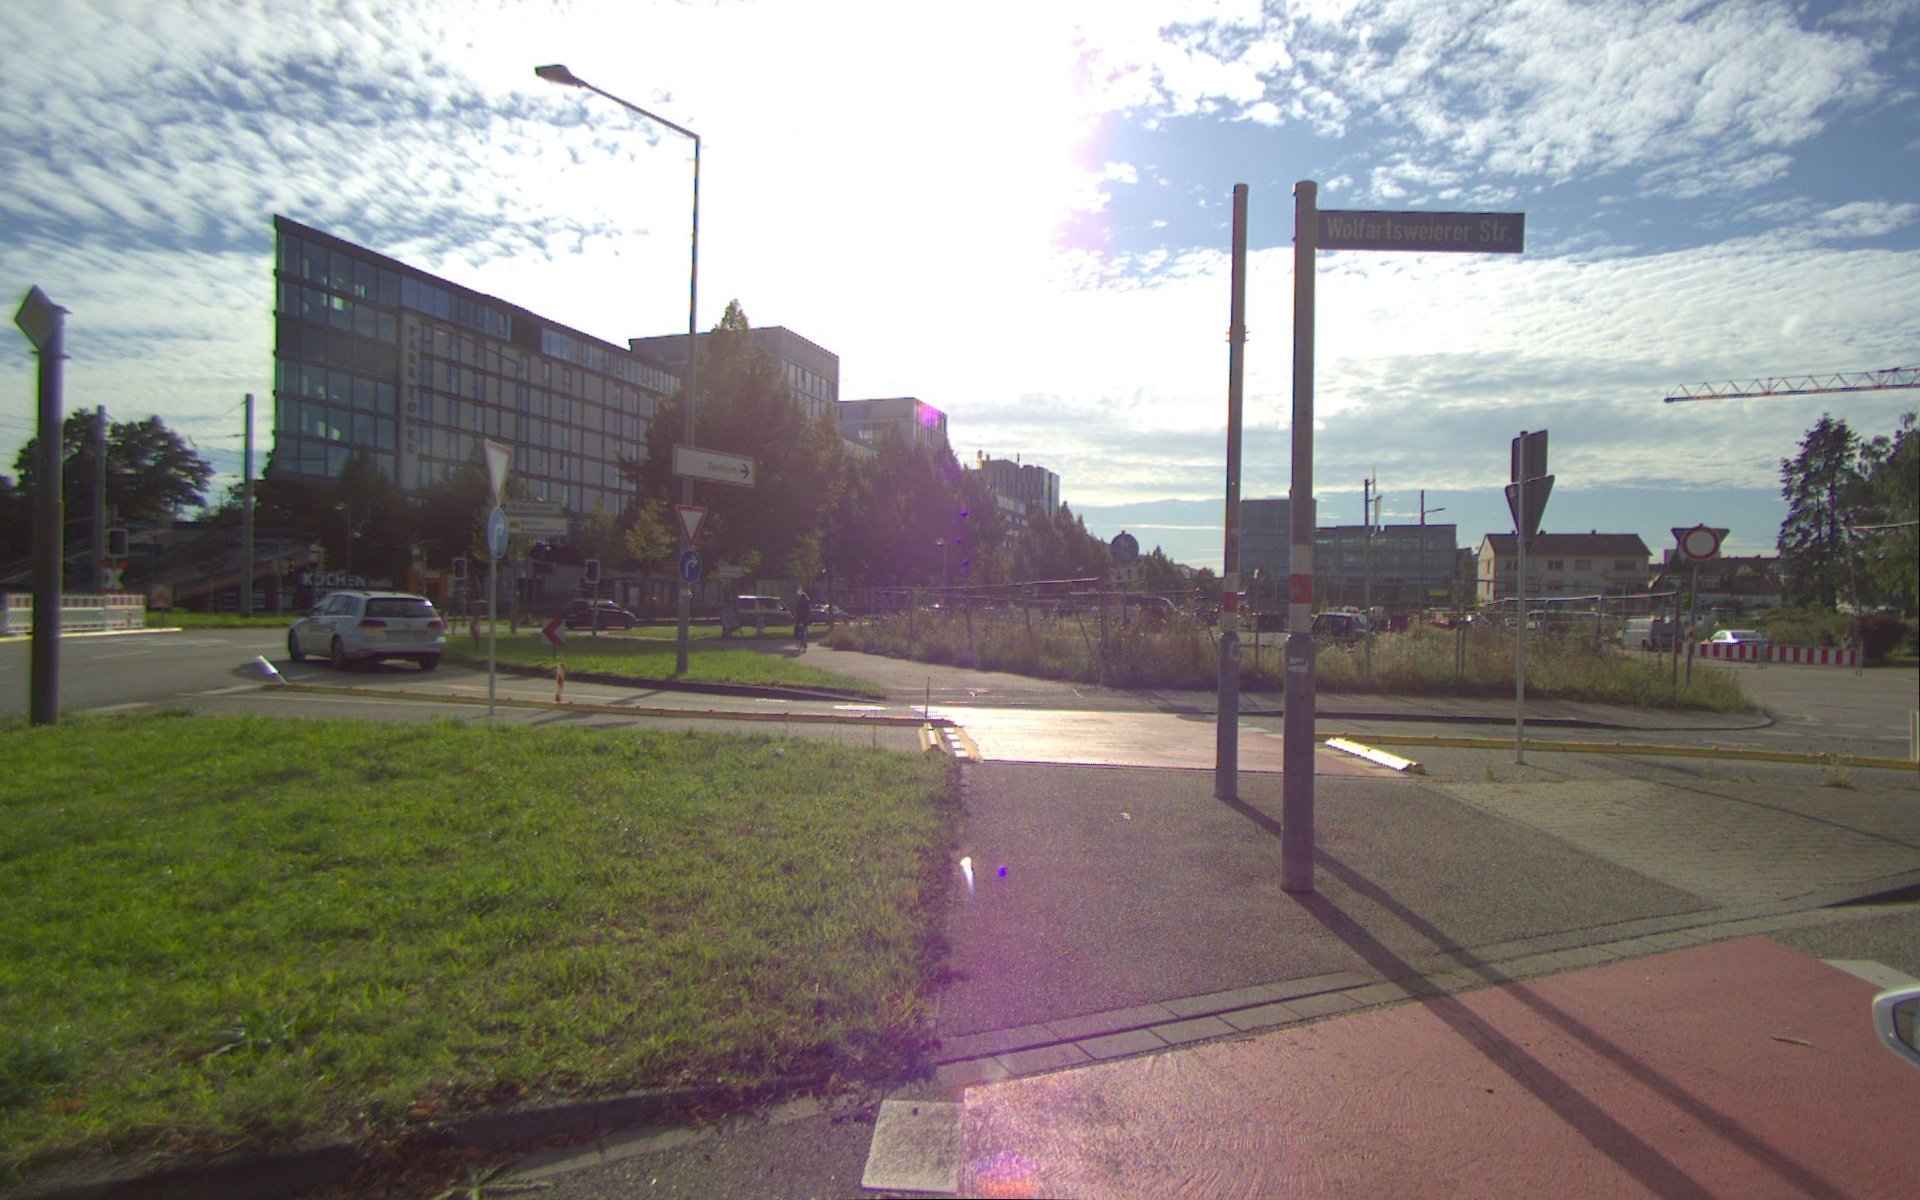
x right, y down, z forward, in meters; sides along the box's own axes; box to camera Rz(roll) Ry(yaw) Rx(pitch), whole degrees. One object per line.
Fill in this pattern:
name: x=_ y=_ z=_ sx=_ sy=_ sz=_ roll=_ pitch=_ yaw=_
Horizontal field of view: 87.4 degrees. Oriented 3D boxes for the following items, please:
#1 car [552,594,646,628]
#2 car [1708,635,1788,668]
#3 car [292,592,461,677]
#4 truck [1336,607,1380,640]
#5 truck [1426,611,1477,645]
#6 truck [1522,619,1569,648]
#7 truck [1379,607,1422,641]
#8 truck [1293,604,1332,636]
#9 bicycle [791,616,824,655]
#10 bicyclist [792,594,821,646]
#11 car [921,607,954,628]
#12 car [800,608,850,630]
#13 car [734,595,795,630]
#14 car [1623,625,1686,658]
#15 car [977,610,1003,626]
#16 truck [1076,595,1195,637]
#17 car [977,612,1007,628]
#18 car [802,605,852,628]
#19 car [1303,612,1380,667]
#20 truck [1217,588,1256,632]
car: x=-18.418 y=0.590 z=51.517 sx=1.960 sy=1.587 sz=4.846 roll=2 pitch=-1 yaw=17
car: x=38.738 y=2.499 z=49.474 sx=1.686 sy=1.411 sz=4.002 roll=1 pitch=0 yaw=16
car: x=-11.647 y=0.612 z=19.924 sx=1.812 sy=1.471 sz=4.481 roll=2 pitch=0 yaw=-45
truck: x=30.471 y=1.730 z=77.155 sx=2.288 sy=2.359 sz=6.456 roll=2 pitch=0 yaw=14
truck: x=36.541 y=2.009 z=74.806 sx=2.247 sy=2.359 sz=5.641 roll=2 pitch=0 yaw=14
truck: x=47.072 y=2.652 z=80.836 sx=1.941 sy=2.200 sz=5.408 roll=1 pitch=0 yaw=16
truck: x=33.359 y=1.785 z=76.245 sx=2.022 sy=2.359 sz=5.641 roll=2 pitch=0 yaw=14
truck: x=27.254 y=1.517 z=77.815 sx=2.288 sy=2.359 sz=6.456 roll=2 pitch=0 yaw=14
bicycle: x=-4.589 y=1.049 z=30.044 sx=0.693 sy=1.077 sz=2.197 roll=1 pitch=0 yaw=-16
bicyclist: x=-4.612 y=0.582 z=30.093 sx=0.694 sy=1.531 sz=1.006 roll=1 pitch=0 yaw=-17
car: x=-2.207 y=1.718 z=99.221 sx=1.864 sy=1.928 sz=4.662 roll=2 pitch=0 yaw=17
car: x=-10.068 y=1.400 z=75.364 sx=1.864 sy=1.450 sz=4.661 roll=2 pitch=1 yaw=18
car: x=-11.863 y=0.719 z=61.325 sx=1.863 sy=1.928 sz=4.663 roll=2 pitch=1 yaw=13
car: x=41.670 y=2.473 z=60.353 sx=1.847 sy=1.840 sz=4.002 roll=1 pitch=0 yaw=16
car: x=3.219 y=1.865 z=106.998 sx=1.863 sy=1.632 sz=4.663 roll=2 pitch=0 yaw=13
truck: x=12.088 y=1.055 z=69.109 sx=7.703 sy=2.601 sz=3.075 roll=2 pitch=0 yaw=18
car: x=3.410 y=2.113 z=106.742 sx=1.864 sy=1.632 sz=4.662 roll=2 pitch=0 yaw=18
car: x=-9.873 y=1.236 z=75.100 sx=1.864 sy=1.655 sz=4.662 roll=1 pitch=0 yaw=18
car: x=13.883 y=1.403 z=36.435 sx=1.852 sy=1.840 sz=3.991 roll=1 pitch=0 yaw=32
truck: x=21.716 y=0.806 z=79.051 sx=2.760 sy=3.250 sz=7.320 roll=2 pitch=0 yaw=14
